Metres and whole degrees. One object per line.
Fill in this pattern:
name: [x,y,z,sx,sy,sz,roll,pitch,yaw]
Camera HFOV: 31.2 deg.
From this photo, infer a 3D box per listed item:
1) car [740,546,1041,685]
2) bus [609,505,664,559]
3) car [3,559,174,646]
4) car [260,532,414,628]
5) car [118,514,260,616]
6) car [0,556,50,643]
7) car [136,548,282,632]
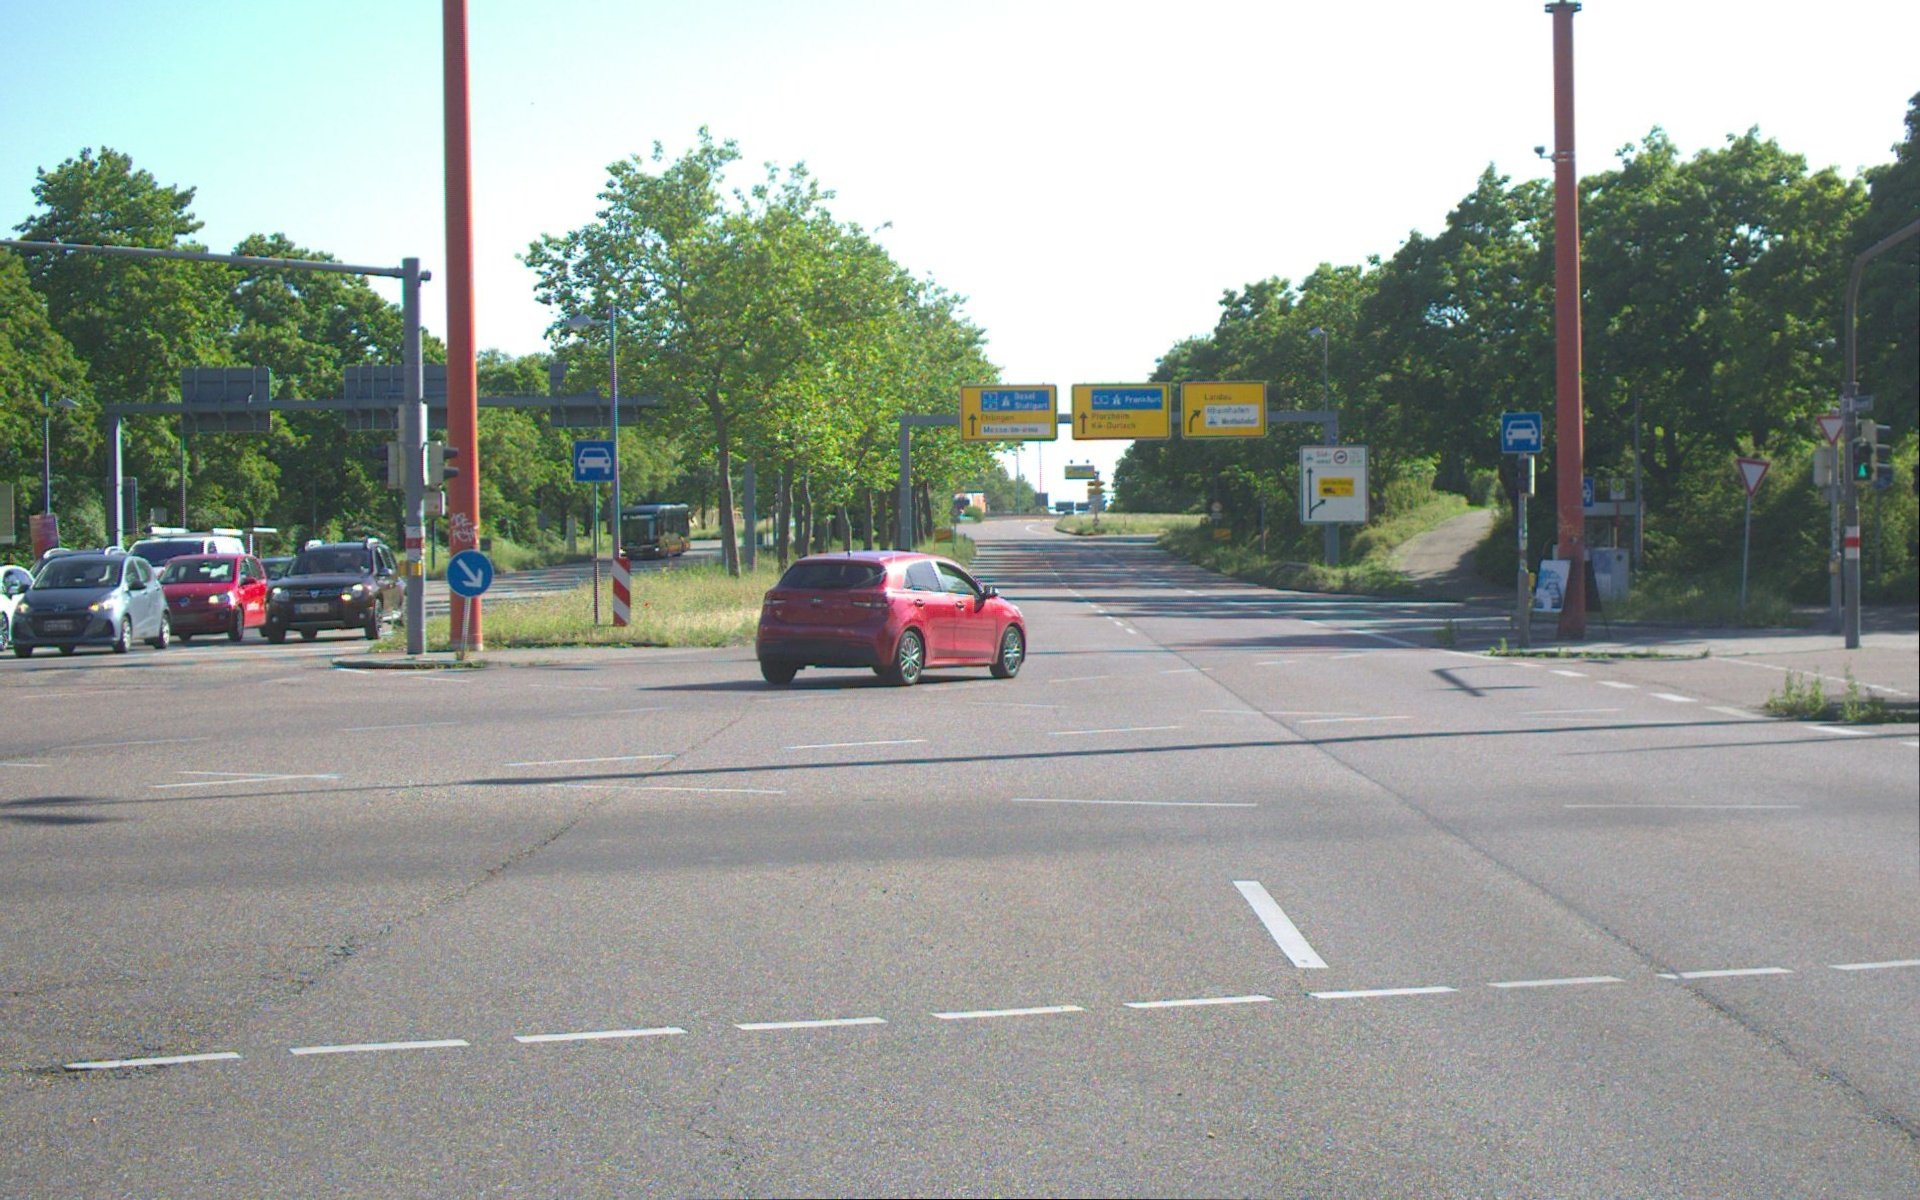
car: [-0.706,0.133,38.148,1.682,1.430,4.059,0,1,26]
bus: [-19.810,-4.157,211.173,2.492,3.227,10.001,-1,1,-1]
car: [-13.114,0.014,51.908,1.739,1.239,3.613,-1,1,-1]
car: [-10.174,-0.353,56.364,1.819,1.503,4.000,-1,1,-1]
car: [-15.953,-0.730,71.349,1.893,2.019,5.223,0,1,-1]
car: [-16.422,-0.018,57.053,1.739,1.406,3.613,-1,1,-1]
car: [-12.691,-0.191,58.277,1.739,1.357,3.613,-1,1,-1]
